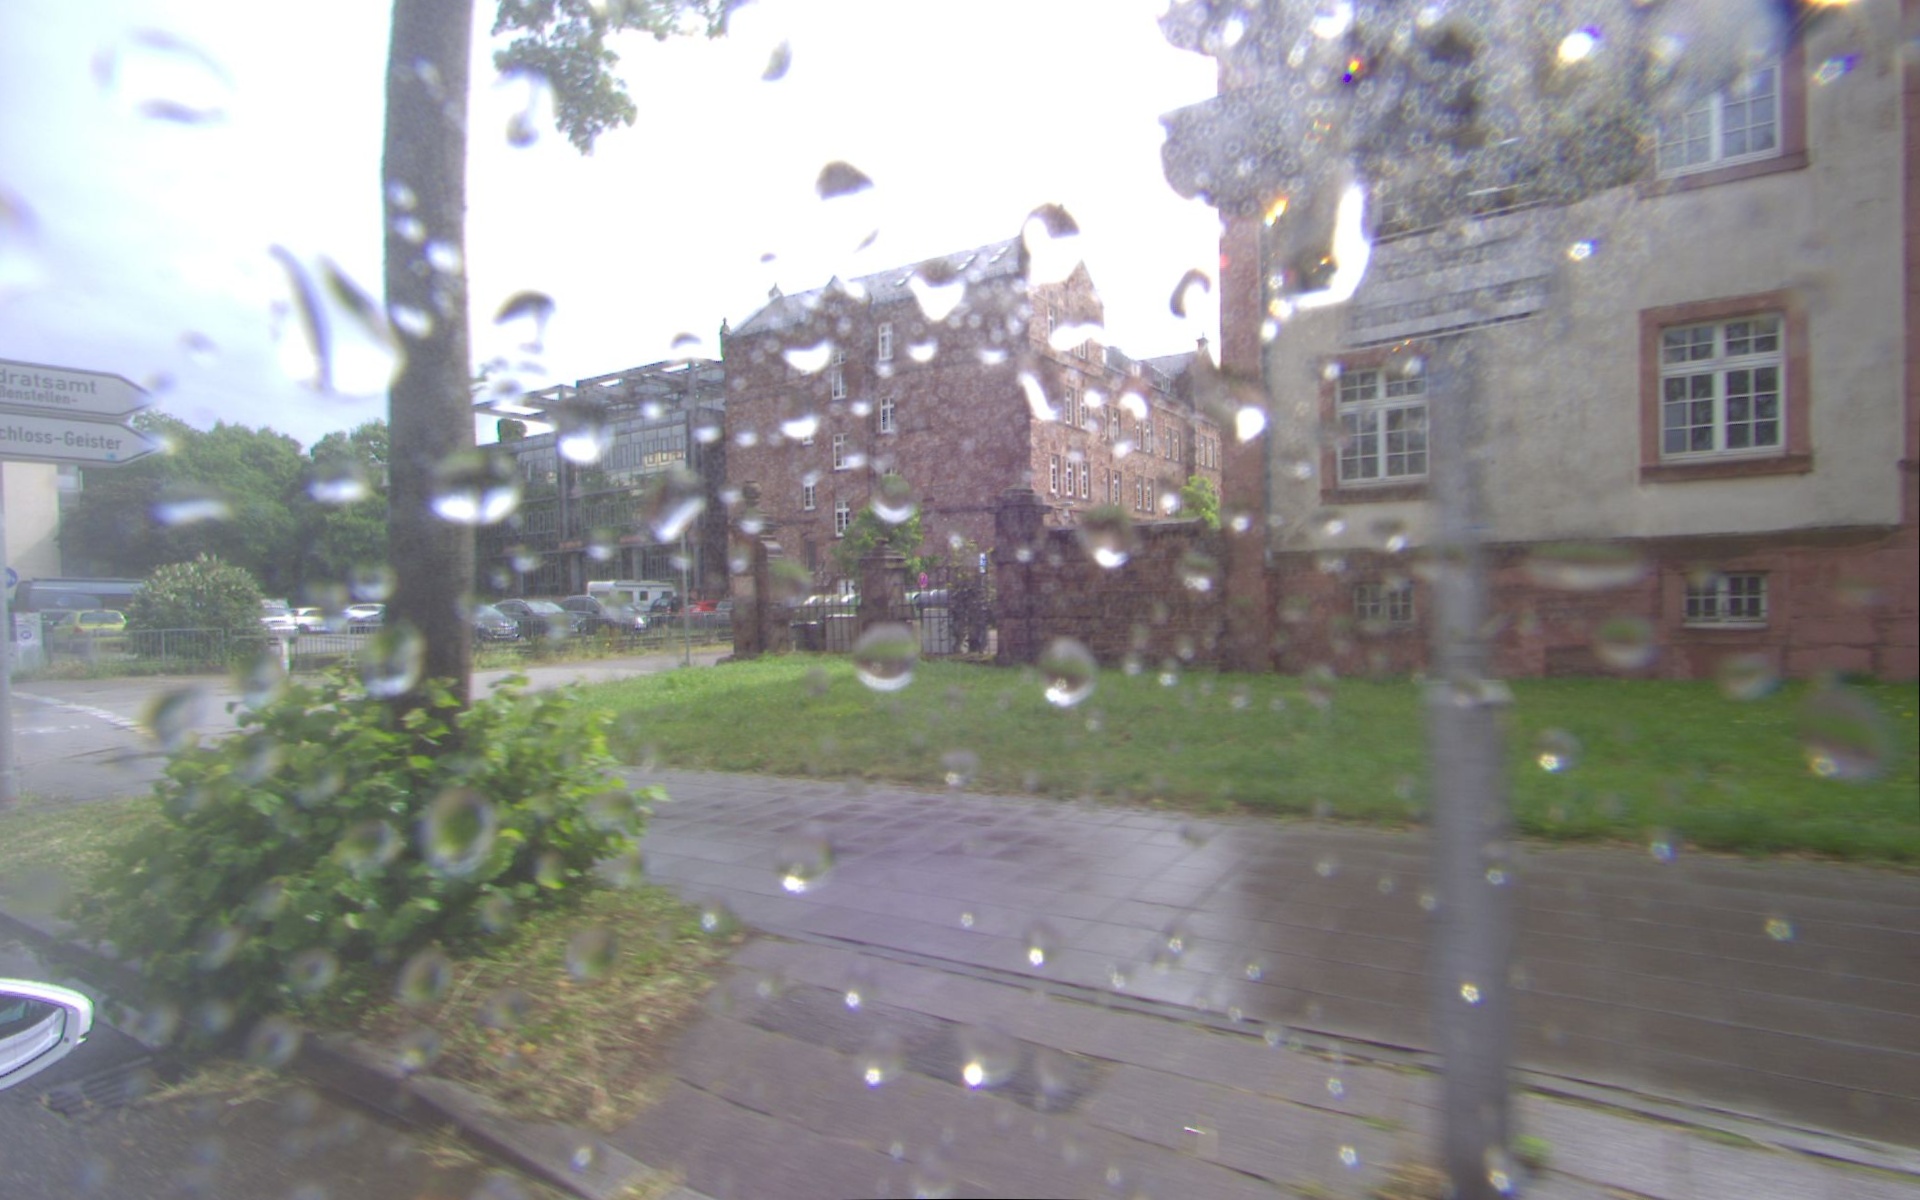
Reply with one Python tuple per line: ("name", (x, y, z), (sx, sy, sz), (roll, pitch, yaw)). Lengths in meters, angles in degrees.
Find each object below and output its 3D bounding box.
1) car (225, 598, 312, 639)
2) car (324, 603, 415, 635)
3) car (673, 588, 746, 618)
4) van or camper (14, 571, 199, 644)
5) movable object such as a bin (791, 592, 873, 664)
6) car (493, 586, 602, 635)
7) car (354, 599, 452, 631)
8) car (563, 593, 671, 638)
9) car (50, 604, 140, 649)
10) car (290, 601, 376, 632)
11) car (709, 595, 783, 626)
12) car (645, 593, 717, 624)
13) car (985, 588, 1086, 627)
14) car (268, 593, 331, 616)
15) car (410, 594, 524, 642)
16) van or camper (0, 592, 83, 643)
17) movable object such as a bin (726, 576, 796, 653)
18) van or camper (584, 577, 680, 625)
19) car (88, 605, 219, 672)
("car", (-27.369, 0.739, 39.631), (3.669, 1.506, 1.643), (-1, 1, 35))
("car", (-30.301, 0.955, 51.489), (1.617, 1.506, 3.654), (-1, 1, 35))
("car", (-13.457, 0.204, 53.940), (1.649, 1.505, 3.658), (-1, -2, 34))
("van or camper", (-32.821, 0.286, 38.664), (2.145, 2.588, 4.985), (-2, 0, 33))
("movable object such as a bin", (-2.808, 0.592, 21.966), (1.371, 1.477, 1.103), (0, 2, 34))
("car", (-15.413, 0.389, 37.353), (4.368, 1.701, 1.845), (-1, 1, 38))
("car", (-28.081, 0.746, 50.601), (1.649, 1.485, 3.962), (-1, 1, 34))
("car", (-13.782, 0.630, 40.160), (4.363, 1.701, 1.847), (-1, 1, 35))
("car", (-30.529, 0.908, 35.316), (3.371, 1.468, 1.605), (-1, 1, 35))
("car", (-34.359, 0.893, 54.926), (1.617, 1.506, 3.654), (-1, 1, 35))
("car", (-11.229, 0.539, 52.737), (1.649, 1.545, 3.656), (-1, 1, 34))
("car", (-15.367, 0.444, 55.311), (1.649, 1.598, 3.656), (-1, 1, 34))
("car", (3.078, 0.340, 40.963), (3.756, 1.471, 1.749), (-2, -2, 35))
("car", (-44.758, 0.295, 67.887), (1.489, 1.416, 3.214), (-1, 1, 35))
("car", (-17.396, 0.633, 35.279), (4.367, 1.547, 1.822), (-1, 1, 37))
("van or camper", (-41.661, 0.776, 43.639), (2.291, 2.160, 4.743), (0, 1, 36))
("movable object such as a bin", (-3.936, 0.279, 19.839), (1.082, 1.477, 0.797), (0, 2, 34))
("van or camper", (-18.218, 0.108, 55.831), (2.226, 2.518, 4.778), (-2, -2, 32))
("car", (-23.401, 1.077, 29.021), (4.181, 1.773, 1.798), (-1, 1, 35))
